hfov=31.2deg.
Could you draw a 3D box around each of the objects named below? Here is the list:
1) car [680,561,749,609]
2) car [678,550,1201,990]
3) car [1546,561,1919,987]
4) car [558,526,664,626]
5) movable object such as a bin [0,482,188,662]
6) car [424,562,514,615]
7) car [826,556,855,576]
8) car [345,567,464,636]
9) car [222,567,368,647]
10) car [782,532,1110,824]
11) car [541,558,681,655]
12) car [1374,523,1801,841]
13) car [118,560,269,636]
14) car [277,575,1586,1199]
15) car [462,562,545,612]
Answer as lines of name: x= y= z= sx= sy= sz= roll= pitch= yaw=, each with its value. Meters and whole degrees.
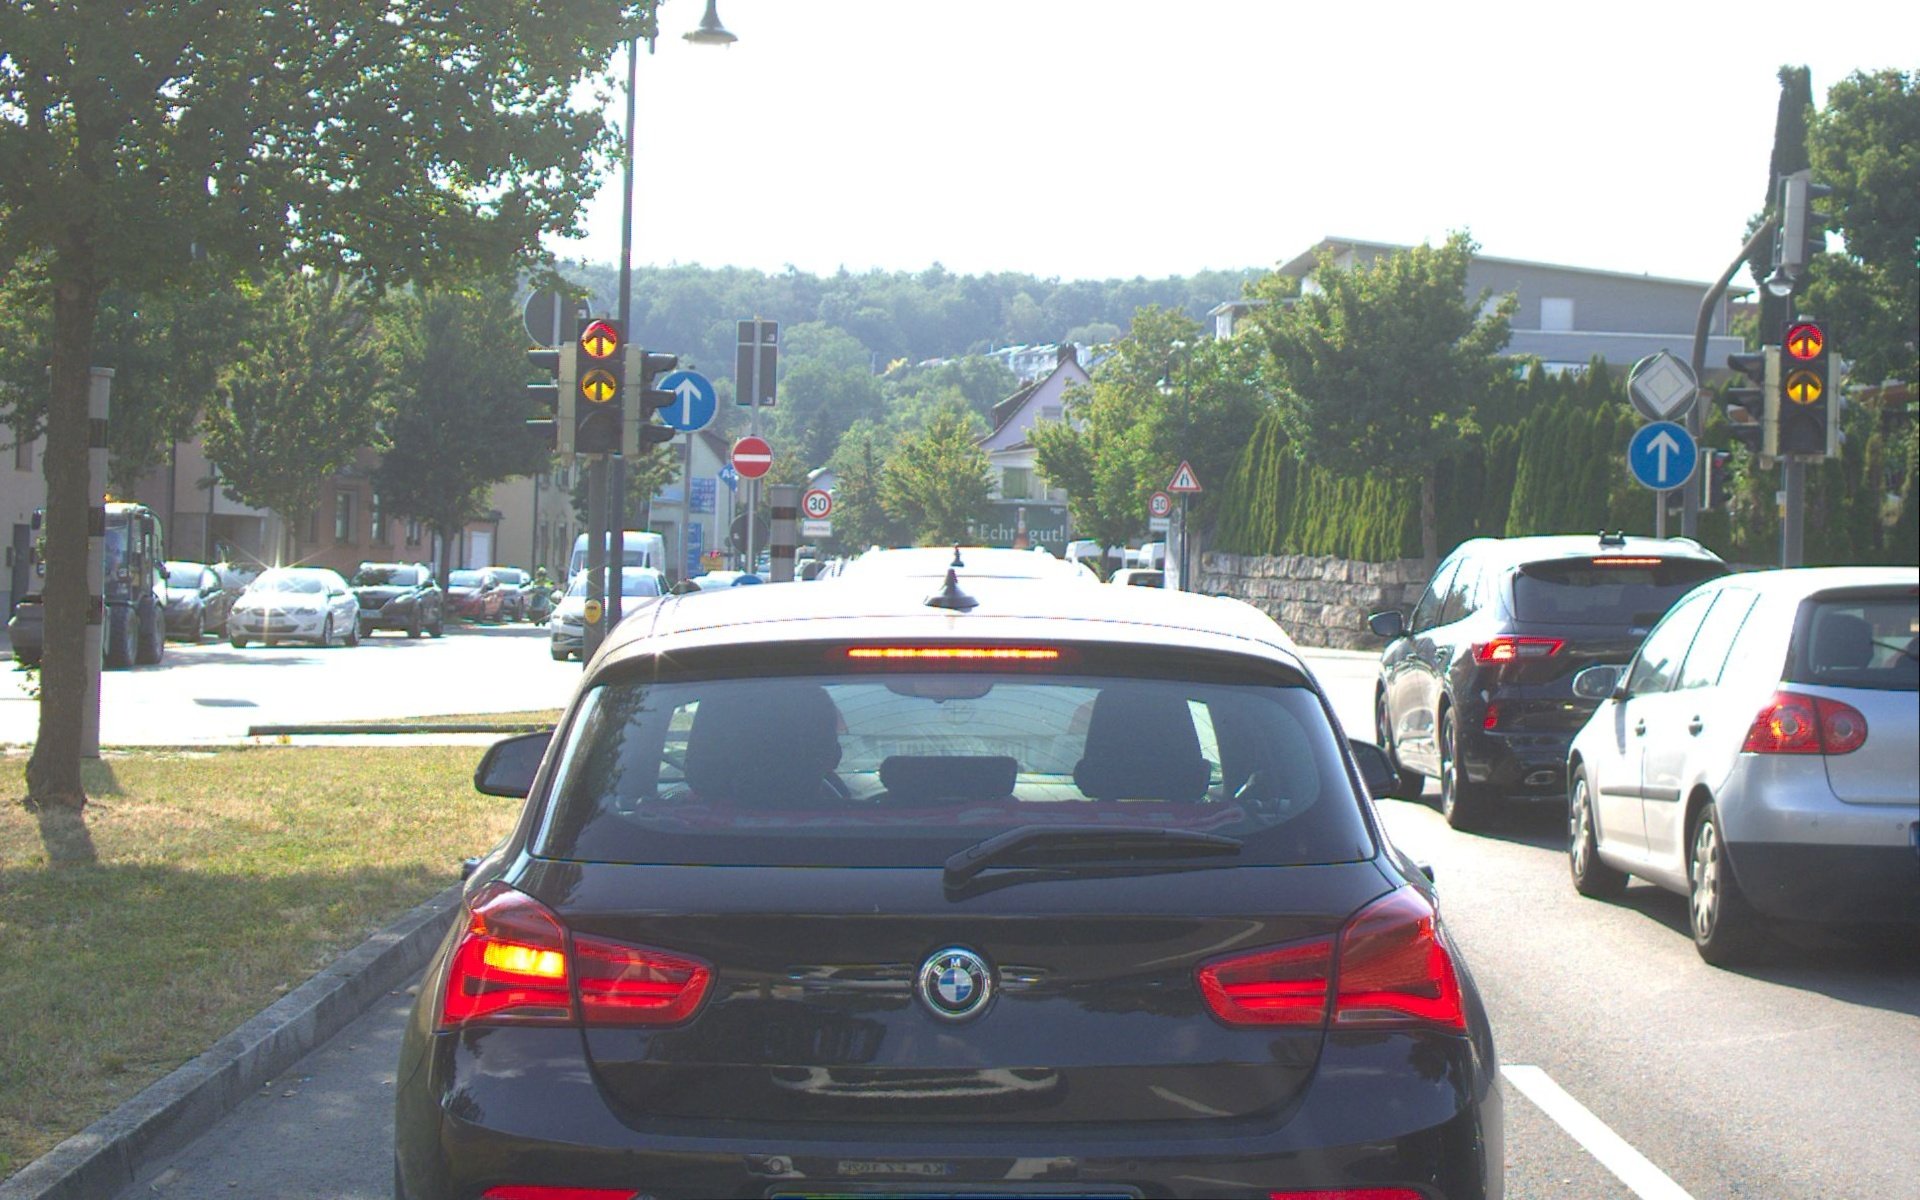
car: x=-7.891 y=-0.509 z=110.901 sx=1.839 sy=1.477 sz=4.000 roll=1 pitch=1 yaw=1
car: x=-0.068 y=0.558 z=14.010 sx=1.788 sy=1.488 sz=4.281 roll=-1 pitch=1 yaw=0
car: x=3.561 y=0.576 z=13.748 sx=1.761 sy=1.421 sz=3.903 roll=-1 pitch=1 yaw=0
car: x=-8.685 y=-0.610 z=85.936 sx=2.084 sy=2.385 sz=5.529 roll=1 pitch=1 yaw=0
movable object such as a bin: x=-12.334 y=-0.406 z=48.793 sx=1.736 sy=2.433 sz=4.450 roll=0 pitch=1 yaw=0
car: x=-13.853 y=-0.341 z=97.171 sx=1.737 sy=1.296 sz=3.799 roll=5 pitch=1 yaw=2
car: x=-8.833 y=-2.499 z=254.664 sx=1.737 sy=1.296 sz=3.799 roll=5 pitch=1 yaw=2
car: x=-12.062 y=0.008 z=74.875 sx=1.737 sy=1.296 sz=3.799 roll=5 pitch=1 yaw=2
car: x=-12.388 y=0.109 z=64.257 sx=1.737 sy=1.296 sz=3.799 roll=5 pitch=1 yaw=2
car: x=-0.075 y=0.393 z=21.050 sx=1.788 sy=1.588 sz=4.281 roll=-1 pitch=1 yaw=0
car: x=-5.589 y=0.077 z=55.520 sx=1.839 sy=1.477 sz=4.000 roll=1 pitch=1 yaw=0
car: x=3.534 y=0.398 z=20.030 sx=1.761 sy=1.650 sz=3.903 roll=-1 pitch=1 yaw=0
car: x=-14.933 y=-0.059 z=67.158 sx=1.737 sy=1.296 sz=4.000 roll=5 pitch=1 yaw=3
car: x=-0.032 y=0.677 z=6.865 sx=1.788 sy=1.393 sz=4.281 roll=-1 pitch=1 yaw=0
car: x=-13.606 y=-0.395 z=102.613 sx=1.737 sy=1.296 sz=3.799 roll=5 pitch=1 yaw=2
